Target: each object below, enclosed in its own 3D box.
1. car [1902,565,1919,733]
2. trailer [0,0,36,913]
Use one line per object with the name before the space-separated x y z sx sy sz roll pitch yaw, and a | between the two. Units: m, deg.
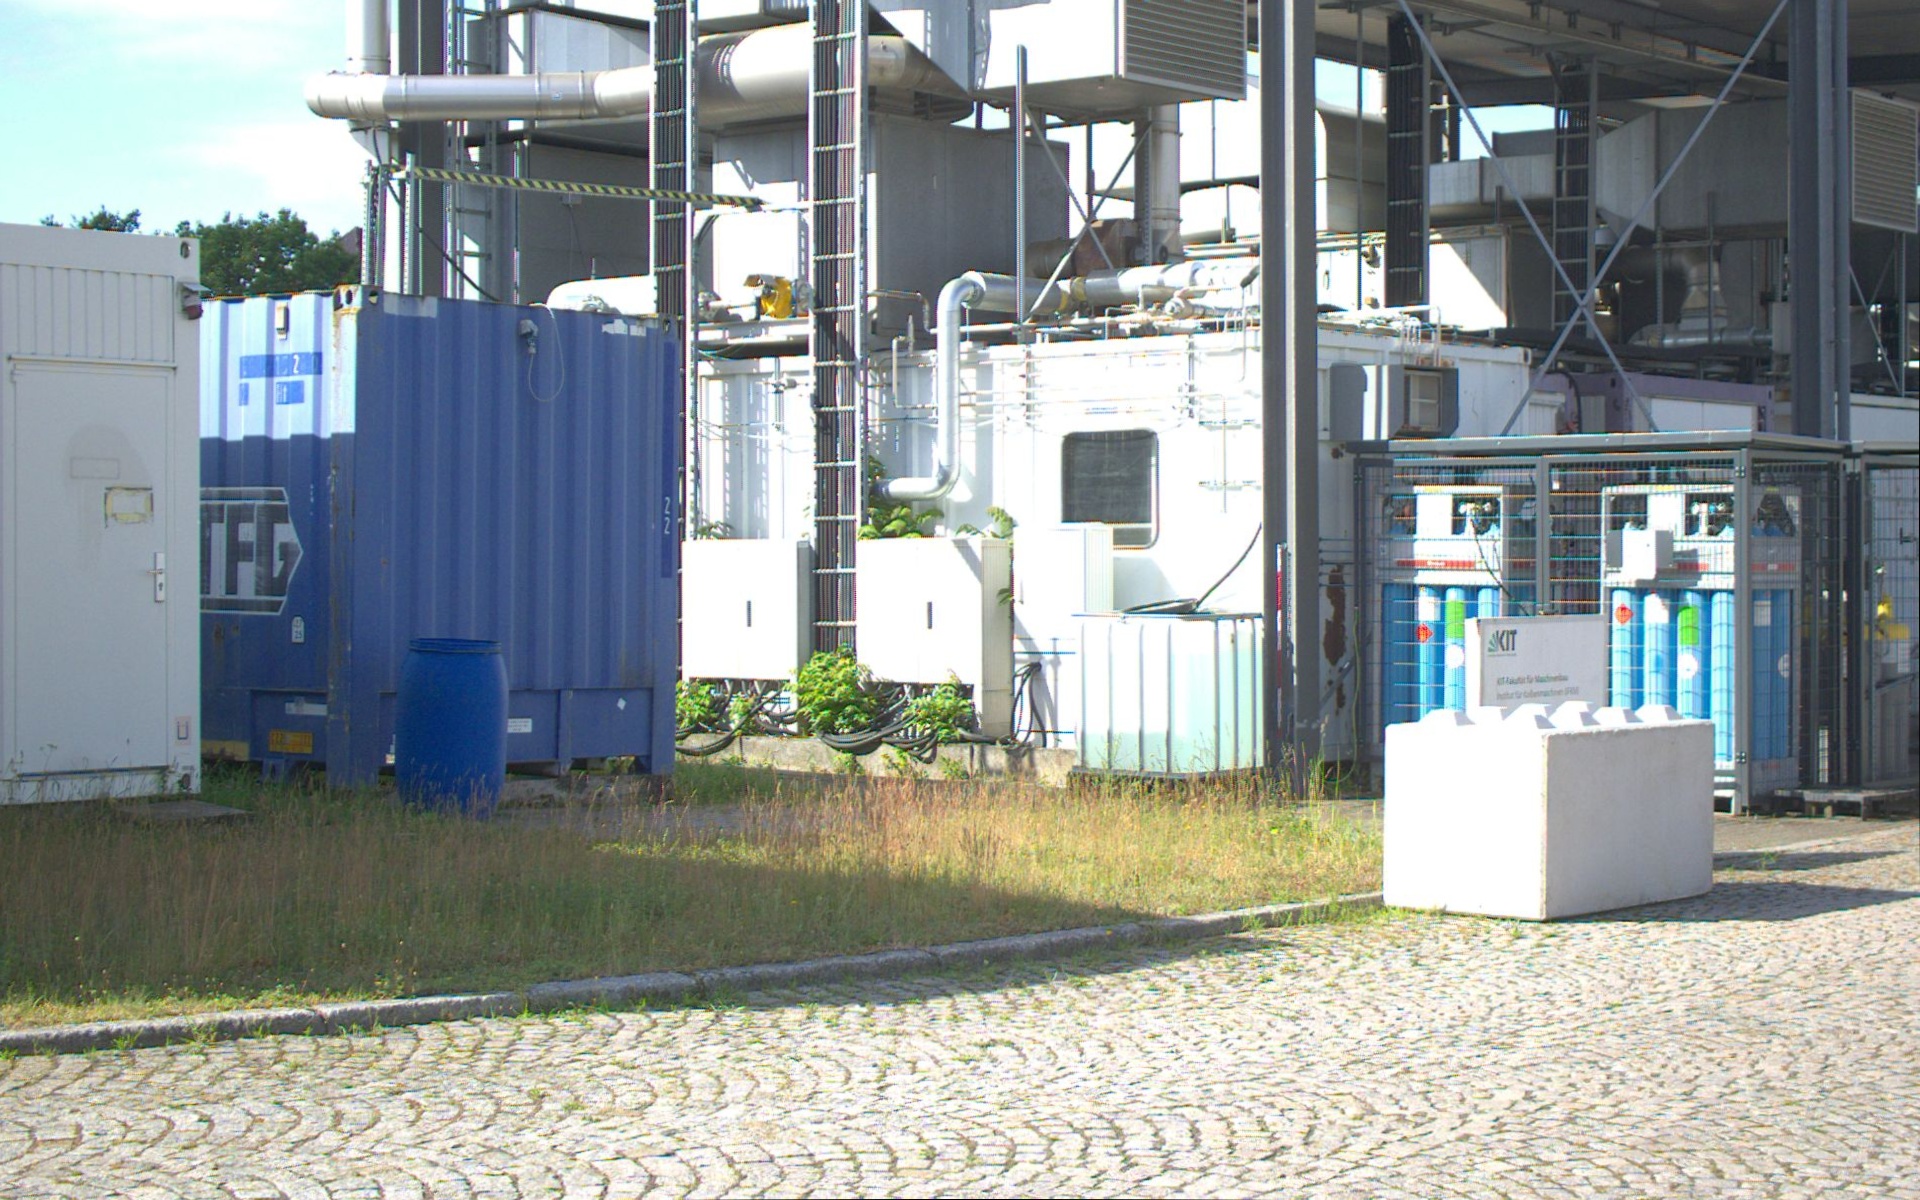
car | 9.591 0.406 27.800 3.469 1.371 1.608 0 1 35
trailer | -8.330 -0.875 14.821 10.876 3.897 2.775 1 1 41
